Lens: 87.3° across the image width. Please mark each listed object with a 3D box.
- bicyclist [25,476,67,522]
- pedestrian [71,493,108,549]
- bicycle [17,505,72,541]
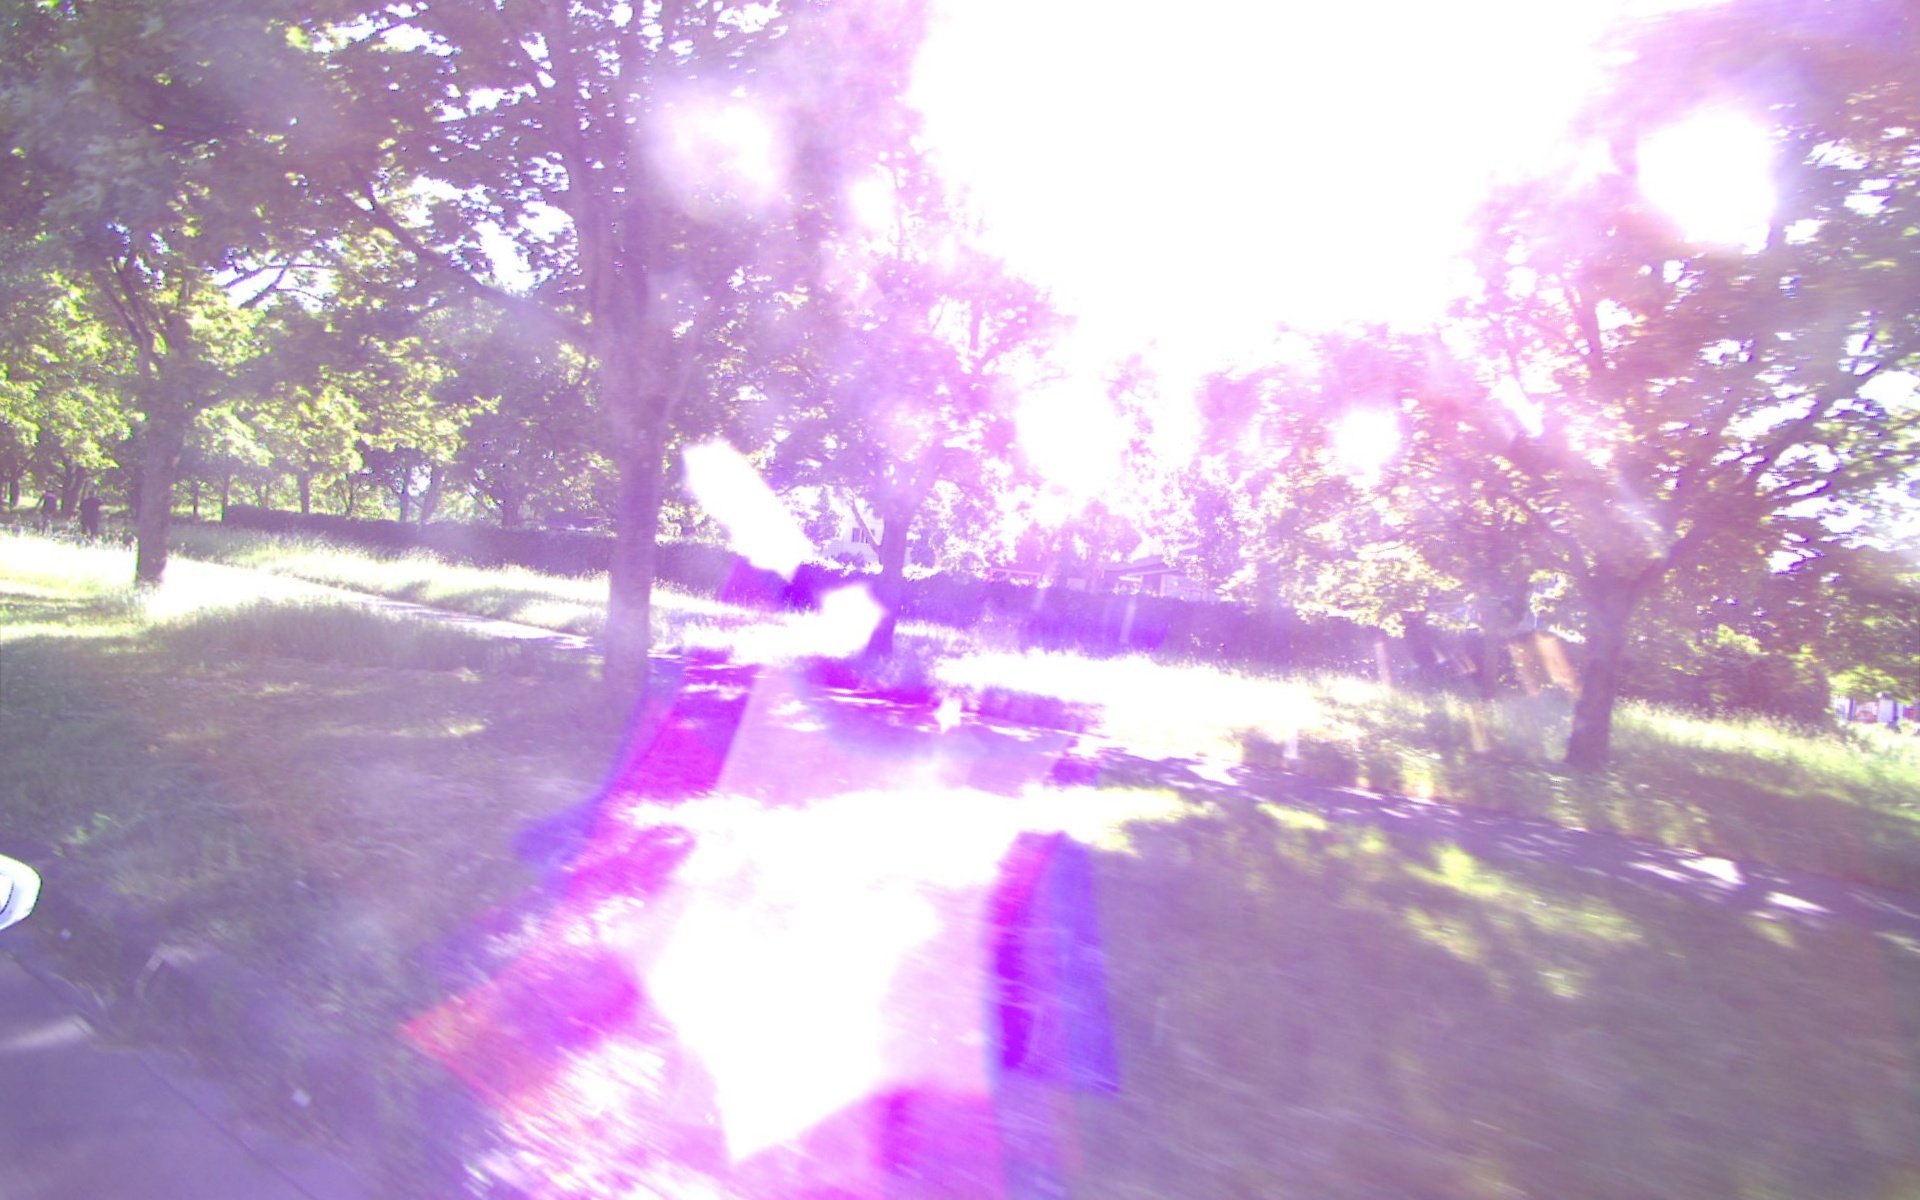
[{"bbox_3d":[-31.771,-3.517,34.978,0.831,1.468,0.790,6,1,30],"label":"bicyclist"},{"bbox_3d":[-30.472,-2.772,35.218,0.782,1.825,0.715,6,0,38],"label":"pedestrian"},{"bbox_3d":[-31.866,-2.699,34.998,2.107,1.060,0.795,6,0,31],"label":"bicycle"}]
